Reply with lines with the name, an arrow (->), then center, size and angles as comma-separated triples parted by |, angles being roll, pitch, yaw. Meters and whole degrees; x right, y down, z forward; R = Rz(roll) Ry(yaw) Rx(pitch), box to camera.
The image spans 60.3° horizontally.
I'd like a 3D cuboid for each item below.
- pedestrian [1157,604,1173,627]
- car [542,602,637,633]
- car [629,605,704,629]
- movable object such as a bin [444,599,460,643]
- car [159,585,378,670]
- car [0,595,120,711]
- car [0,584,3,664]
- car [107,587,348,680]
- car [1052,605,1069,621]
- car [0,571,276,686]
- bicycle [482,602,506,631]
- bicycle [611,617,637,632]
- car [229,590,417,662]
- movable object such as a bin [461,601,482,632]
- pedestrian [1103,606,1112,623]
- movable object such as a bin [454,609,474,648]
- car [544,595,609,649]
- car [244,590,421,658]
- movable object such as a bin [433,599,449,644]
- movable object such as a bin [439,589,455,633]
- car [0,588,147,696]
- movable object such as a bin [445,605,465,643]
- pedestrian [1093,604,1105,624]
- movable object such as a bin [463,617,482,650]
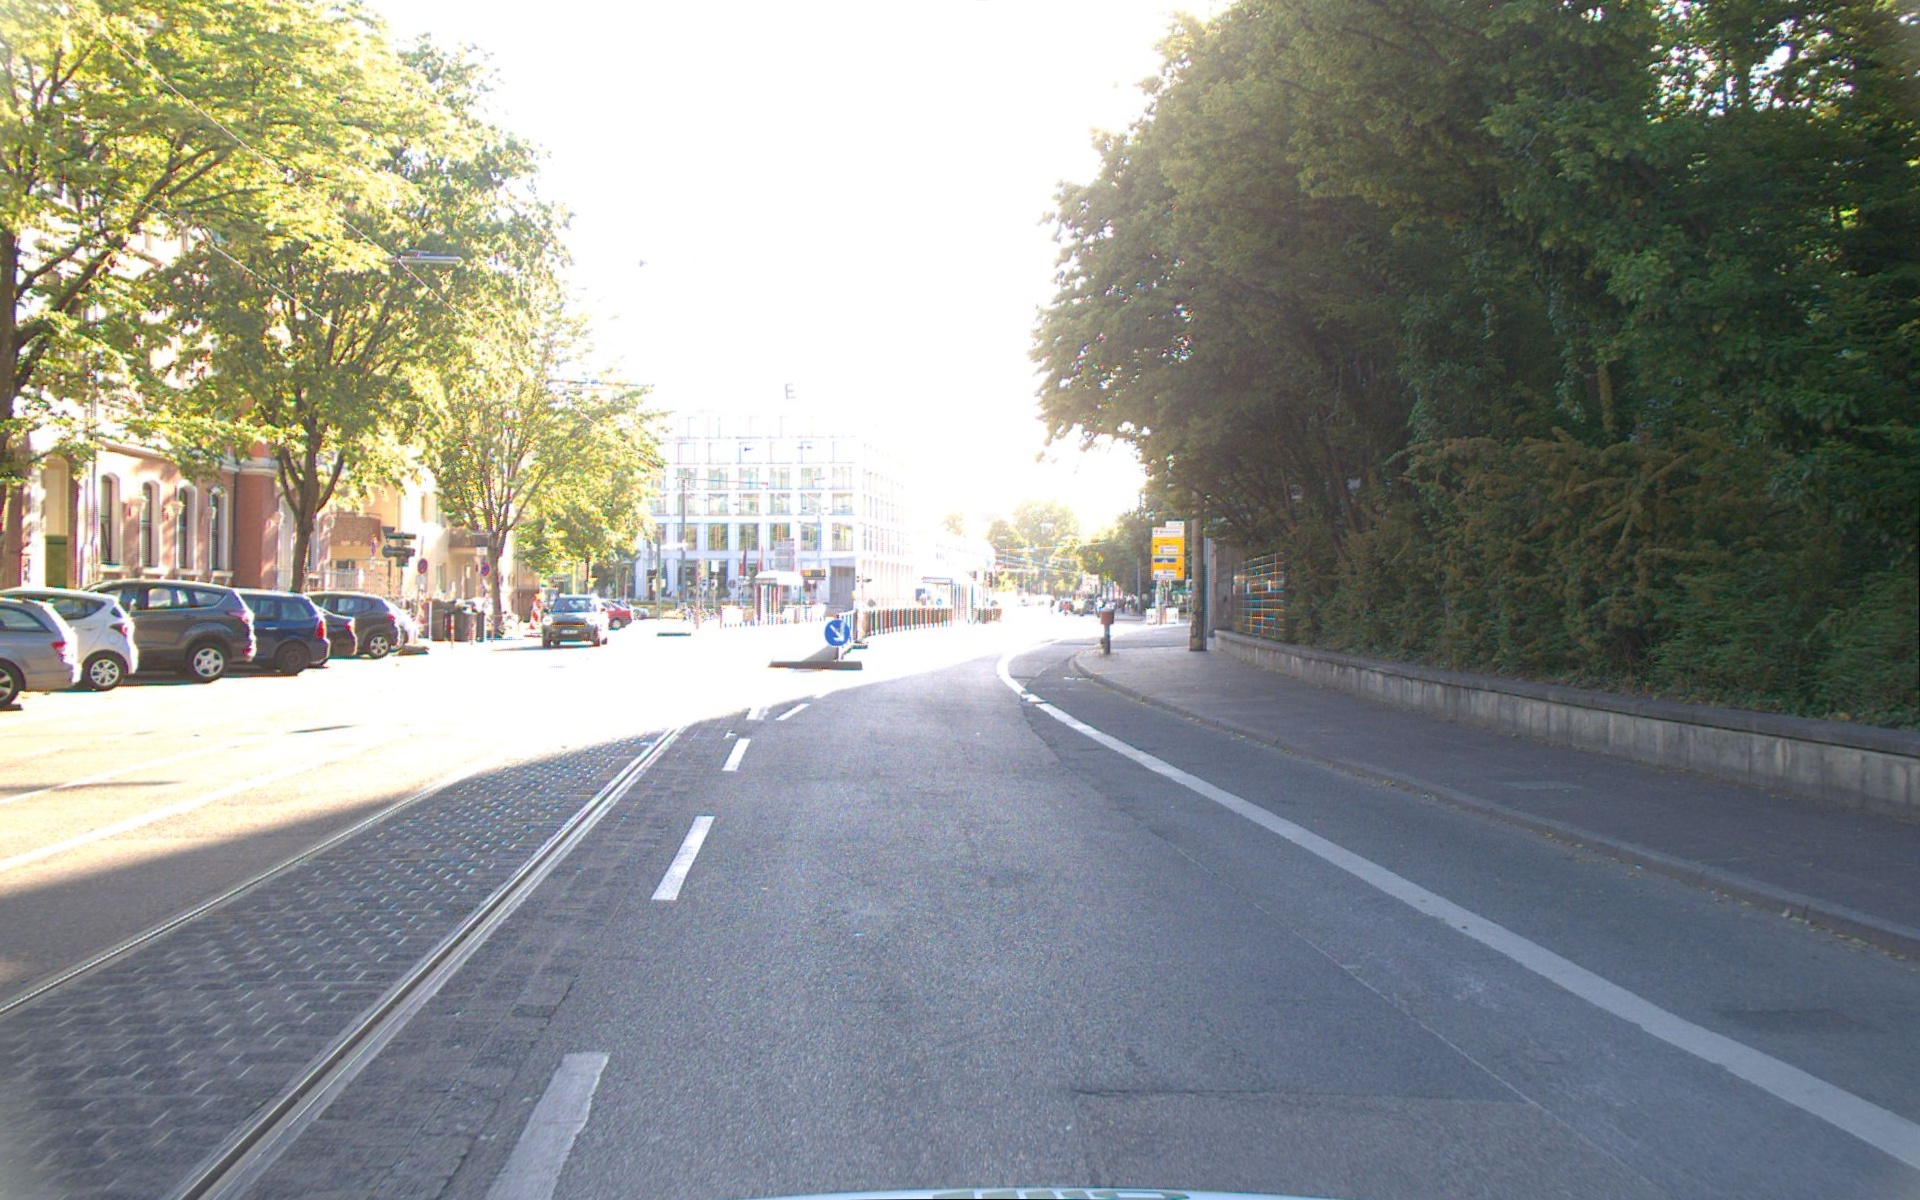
pedestrian -> 15.541, 1.188, 125.186 | 1.019, 1.751, 1.034 | 0, -1, -3
car -> -18.505, 0.885, 82.670 | 4.433, 1.450, 1.863 | 2, -1, -19
car -> -18.746, 1.083, 105.724 | 4.442, 1.374, 1.578 | 2, -2, -25
movable object such as a bin -> -16.907, 0.684, 55.014 | 0.371, 1.452, 0.388 | 0, -1, 7
car -> -14.629, 0.602, 35.100 | 3.949, 1.645, 1.611 | 3, -1, -40
car -> -13.449, 0.671, 22.069 | 3.776, 1.511, 1.750 | 3, -2, -34
car -> -13.352, 0.591, 19.135 | 3.823, 1.683, 1.752 | 2, -1, -34
car -> -14.192, 0.673, 32.164 | 3.949, 1.645, 1.611 | 3, -1, -40
car -> 11.419, 1.493, 188.237 | 1.648, 1.768, 3.511 | 2, -1, 8
car -> -14.427, 0.529, 28.894 | 4.239, 1.753, 1.685 | 4, -3, -37
bicycle -> -23.829, 0.834, 84.627 | 0.703, 1.422, 3.006 | 0, 0, -6
bicycle -> -26.251, 1.891, 129.192 | 1.882, 1.142, 0.791 | 0, -1, 14
car -> -15.320, 0.631, 39.834 | 3.879, 1.534, 1.668 | 3, -1, -37
movable object such as a bin -> -18.400, 0.632, 62.307 | 0.416, 1.146, 1.147 | 0, -1, 1
pedestrian -> 13.656, 1.324, 152.905 | 0.748, 1.586, 0.587 | 0, -1, -8
movable object such as a bin -> -16.365, 0.932, 54.572 | 0.371, 1.263, 0.640 | 0, -1, 7
car -> -12.072, 0.652, 52.253 | 1.837, 1.629, 4.415 | 0, 0, -11
car -> -16.159, 0.622, 42.707 | 3.882, 1.548, 1.709 | 4, -1, -42
movable object such as a bin -> -16.995, 0.697, 54.180 | 0.371, 1.452, 0.388 | 0, -1, 7
movable object such as a bin -> -16.951, 0.354, 54.619 | 0.371, 1.452, 0.386 | 0, -1, 7
car -> -14.551, 0.614, 25.578 | 3.244, 1.559, 1.686 | 4, -2, -37
movable object such as a bin -> -16.464, 0.791, 53.916 | 0.371, 1.224, 0.640 | 0, -1, 7
pedestrian -> 12.658, 1.270, 151.013 | 0.948, 1.815, 0.778 | 0, -1, -8
movable object such as a bin -> -16.281, 1.103, 55.218 | 0.371, 1.087, 0.640 | 0, -1, 7
